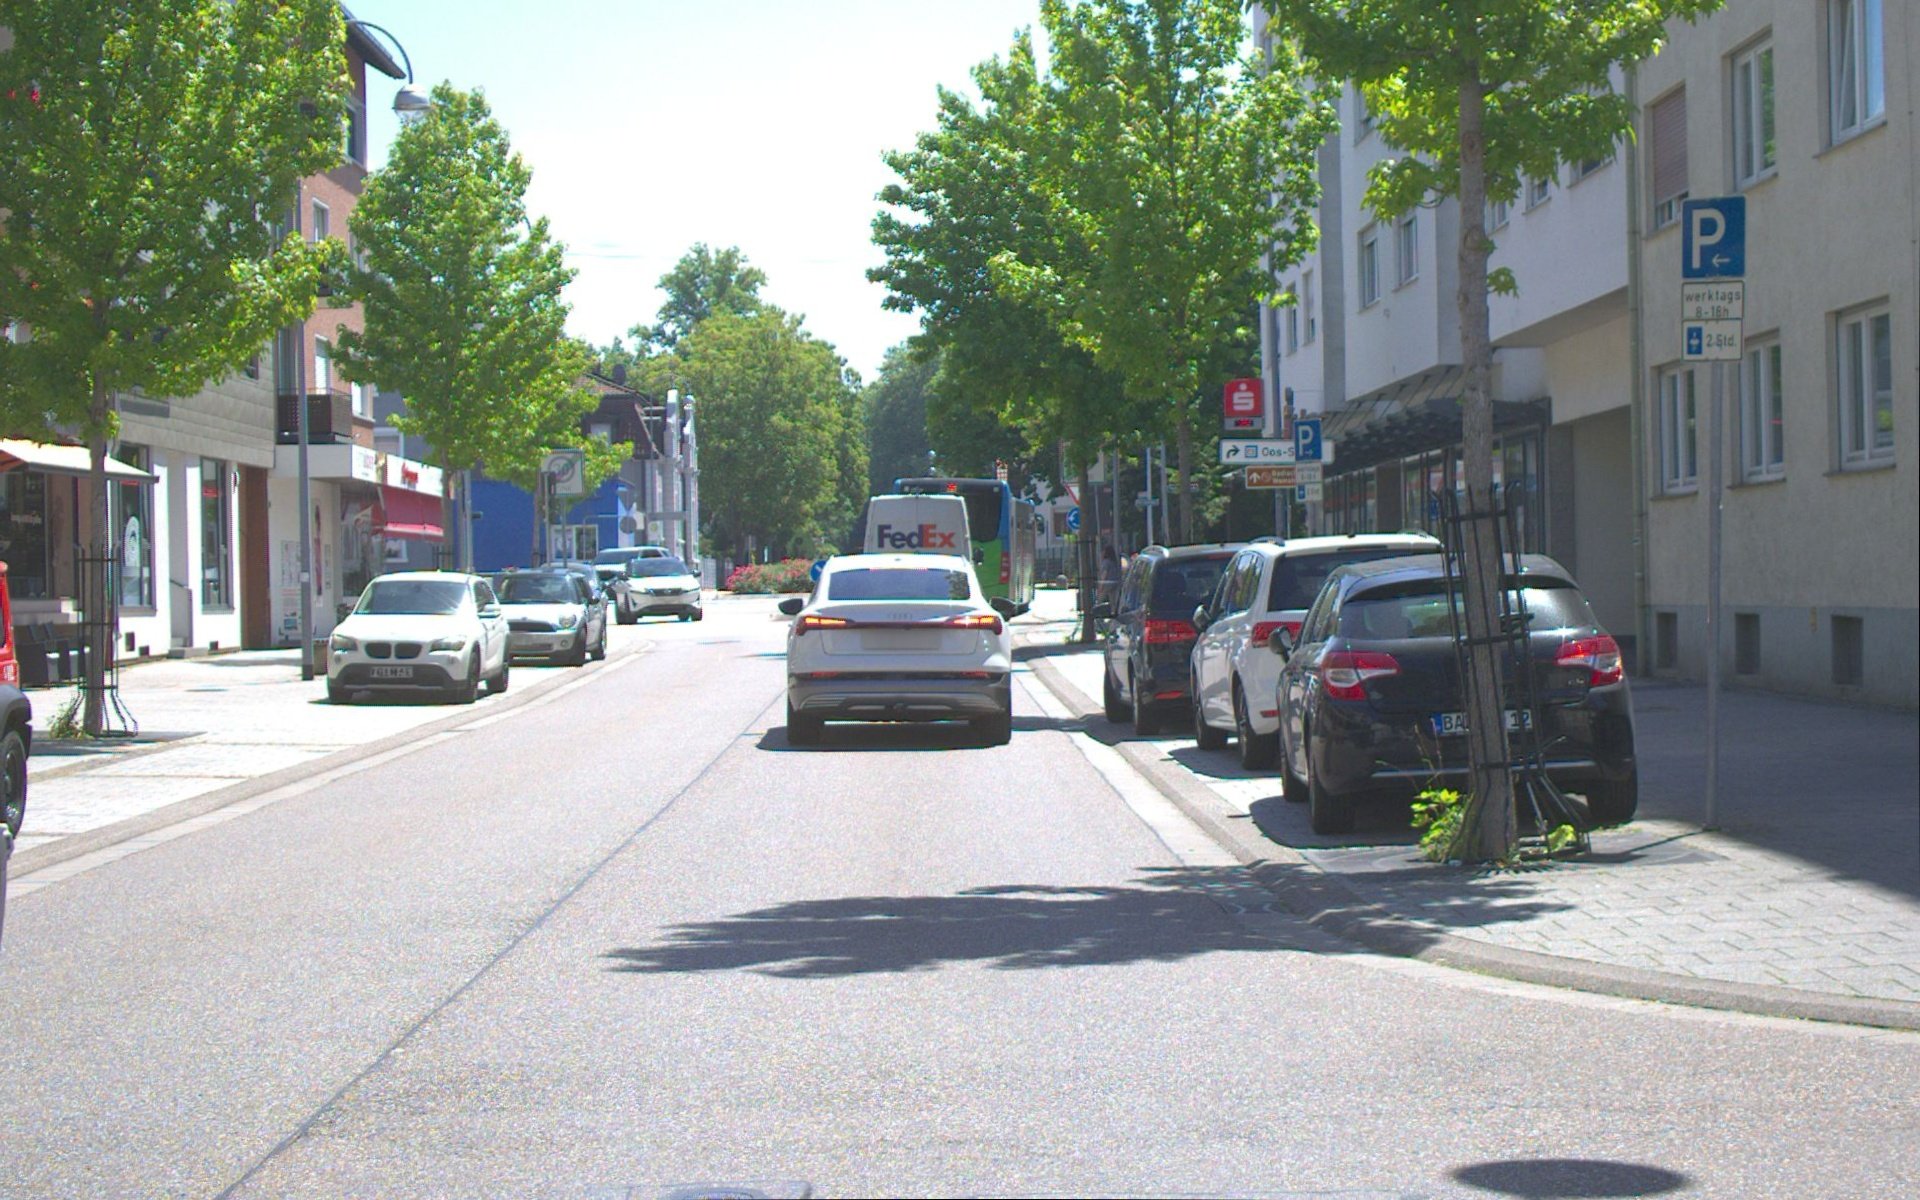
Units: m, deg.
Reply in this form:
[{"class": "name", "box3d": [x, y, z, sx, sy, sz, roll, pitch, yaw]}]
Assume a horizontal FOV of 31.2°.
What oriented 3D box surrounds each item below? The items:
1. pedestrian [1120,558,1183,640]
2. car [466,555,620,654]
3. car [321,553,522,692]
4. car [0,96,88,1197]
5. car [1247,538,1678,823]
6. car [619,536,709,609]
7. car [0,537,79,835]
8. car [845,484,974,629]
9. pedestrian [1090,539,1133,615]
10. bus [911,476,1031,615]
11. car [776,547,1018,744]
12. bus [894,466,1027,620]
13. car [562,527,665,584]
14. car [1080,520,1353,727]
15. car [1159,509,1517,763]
[{"class": "pedestrian", "box3d": [2.963, -0.022, 53.319, 0.906, 1.232, 0.648, -1, 1, -1]}, {"class": "car", "box3d": [-6.436, 0.044, 53.512, 1.752, 1.448, 4.400, 1, 1, 1]}, {"class": "car", "box3d": [-6.616, 0.240, 42.646, 1.752, 1.612, 4.401, 1, 1, 1]}, {"class": "car", "box3d": [-3.256, 0.166, 5.231, 2.036, 2.621, 7.108, -3, 1, -1]}, {"class": "car", "box3d": [2.794, 0.385, 20.080, 1.896, 1.433, 4.544, -1, 1, 1]}, {"class": "car", "box3d": [-7.267, -0.685, 84.698, 1.856, 1.686, 4.150, -2, 1, -1]}, {"class": "car", "box3d": [-6.328, 0.479, 19.335, 1.752, 1.696, 4.102, 1, 1, -1]}, {"class": "car", "box3d": [-0.880, -0.762, 60.961, 2.156, 2.433, 5.283, 1, 0, 0]}, {"class": "pedestrian", "box3d": [3.017, -0.469, 68.666, 0.716, 1.497, 0.582, -2, 1, -9]}, {"class": "bus", "box3d": [0.326, -1.285, 83.372, 2.661, 3.199, 7.451, 1, 0, 2]}, {"class": "car", "box3d": [-0.585, 0.353, 30.427, 1.993, 1.627, 4.000, 0, 1, -2]}, {"class": "bus", "box3d": [0.084, -1.236, 76.024, 2.661, 3.210, 7.301, 1, 0, 2]}, {"class": "car", "box3d": [-10.811, -1.374, 107.503, 1.866, 1.751, 3.997, 1, 0, 16]}, {"class": "car", "box3d": [2.267, 0.170, 31.563, 1.855, 1.669, 4.537, -3, 1, -3]}, {"class": "car", "box3d": [2.762, 0.216, 26.220, 1.896, 1.669, 4.691, -3, 1, -3]}]
